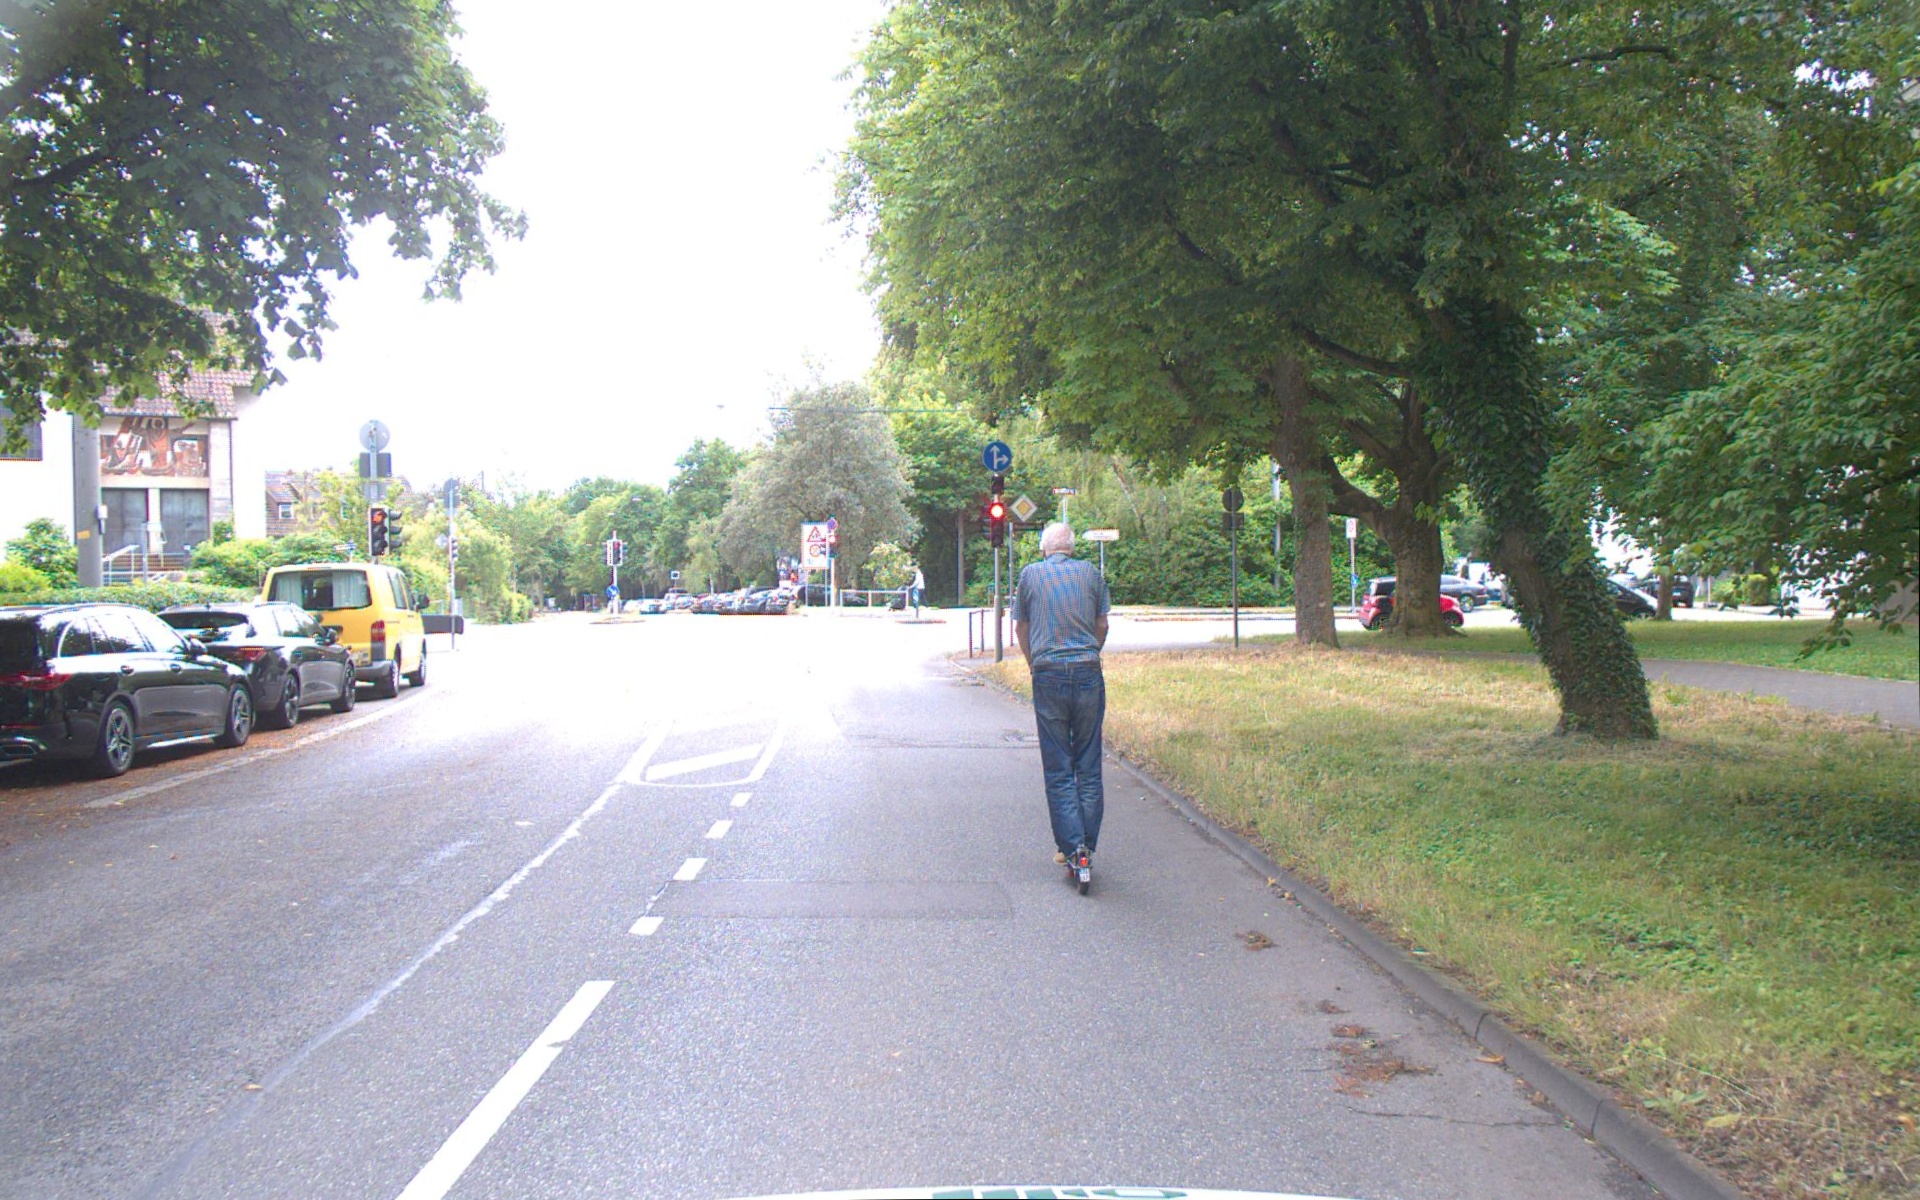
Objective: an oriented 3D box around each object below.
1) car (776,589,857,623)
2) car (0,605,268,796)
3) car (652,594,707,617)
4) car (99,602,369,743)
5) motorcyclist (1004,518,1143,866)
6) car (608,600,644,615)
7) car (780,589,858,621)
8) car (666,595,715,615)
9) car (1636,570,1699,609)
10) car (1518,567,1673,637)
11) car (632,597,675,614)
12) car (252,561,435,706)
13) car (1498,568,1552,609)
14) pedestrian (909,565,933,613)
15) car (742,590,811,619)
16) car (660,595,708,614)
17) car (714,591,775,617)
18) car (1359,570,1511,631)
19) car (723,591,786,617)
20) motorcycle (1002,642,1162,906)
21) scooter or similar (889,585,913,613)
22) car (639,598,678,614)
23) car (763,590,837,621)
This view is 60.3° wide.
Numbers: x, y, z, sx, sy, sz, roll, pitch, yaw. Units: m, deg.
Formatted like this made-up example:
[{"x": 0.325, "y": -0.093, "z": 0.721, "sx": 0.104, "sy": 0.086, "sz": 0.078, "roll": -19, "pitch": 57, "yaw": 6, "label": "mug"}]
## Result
[{"x": -7.151, "y": 0.273, "z": 82.197, "sx": 3.912, "sy": 1.536, "sz": 1.797, "roll": -2, "pitch": 0, "yaw": -8, "label": "car"}, {"x": -7.966, "y": 0.798, "z": 14.854, "sx": 1.855, "sy": 1.435, "sz": 4.549, "roll": -2, "pitch": 0, "yaw": -5, "label": "car"}, {"x": -20.864, "y": 0.384, "z": 122.941, "sx": 3.912, "sy": 1.536, "sz": 1.797, "roll": -2, "pitch": 0, "yaw": -8, "label": "car"}, {"x": -8.620, "y": 0.780, "z": 20.036, "sx": 1.760, "sy": 1.440, "sz": 4.184, "roll": -2, "pitch": 0, "yaw": -6, "label": "car"}, {"x": 0.595, "y": 0.472, "z": 8.867, "sx": 0.659, "sy": 1.792, "sz": 0.638, "roll": 0, "pitch": 0, "yaw": -4, "label": "motorcyclist"}, {"x": -39.138, "y": 0.867, "z": 193.780, "sx": 3.912, "sy": 1.536, "sz": 1.797, "roll": -2, "pitch": 0, "yaw": -8, "label": "car"}, {"x": -7.350, "y": 0.249, "z": 85.769, "sx": 3.912, "sy": 1.536, "sz": 1.797, "roll": -2, "pitch": 0, "yaw": -8, "label": "car"}, {"x": -22.715, "y": 0.405, "z": 139.512, "sx": 3.912, "sy": 1.536, "sz": 1.797, "roll": -2, "pitch": 0, "yaw": -8, "label": "car"}, {"x": 30.019, "y": -0.459, "z": 70.261, "sx": 2.039, "sy": 1.536, "sz": 4.002, "roll": -1, "pitch": 0, "yaw": 17, "label": "car"}, {"x": 17.549, "y": 0.022, "z": 45.794, "sx": 3.904, "sy": 1.756, "sz": 1.801, "roll": 1, "pitch": 4, "yaw": 20, "label": "car"}, {"x": -29.736, "y": 0.501, "z": 160.582, "sx": 3.912, "sy": 1.536, "sz": 1.797, "roll": -2, "pitch": 0, "yaw": -8, "label": "car"}, {"x": -9.419, "y": 0.477, "z": 25.624, "sx": 1.824, "sy": 1.998, "sz": 4.493, "roll": -2, "pitch": 0, "yaw": -10, "label": "car"}, {"x": 22.924, "y": -0.475, "z": 67.057, "sx": 1.758, "sy": 1.536, "sz": 3.999, "roll": -1, "pitch": 0, "yaw": 23, "label": "car"}, {"x": -1.498, "y": -0.418, "z": 63.327, "sx": 0.716, "sy": 1.792, "sz": 0.662, "roll": -1, "pitch": 0, "yaw": 14, "label": "pedestrian"}, {"x": -10.664, "y": 0.278, "z": 95.878, "sx": 3.912, "sy": 1.536, "sz": 1.797, "roll": -2, "pitch": 0, "yaw": -8, "label": "car"}, {"x": -23.748, "y": 0.395, "z": 142.341, "sx": 3.912, "sy": 1.536, "sz": 1.797, "roll": -2, "pitch": 0, "yaw": -8, "label": "car"}, {"x": -14.103, "y": 0.249, "z": 108.203, "sx": 3.912, "sy": 1.536, "sz": 1.797, "roll": -2, "pitch": 0, "yaw": -8, "label": "car"}, {"x": 13.423, "y": -0.007, "z": 46.947, "sx": 3.902, "sy": 1.584, "sz": 1.802, "roll": 0, "pitch": 3, "yaw": 7, "label": "car"}, {"x": -13.215, "y": 0.239, "z": 106.386, "sx": 3.912, "sy": 1.536, "sz": 1.797, "roll": -2, "pitch": 0, "yaw": -8, "label": "car"}, {"x": 0.609, "y": 0.860, "z": 8.662, "sx": 0.659, "sy": 1.239, "sz": 1.273, "roll": 0, "pitch": 0, "yaw": -4, "label": "motorcycle"}, {"x": -2.279, "y": -0.048, "z": 63.677, "sx": 0.695, "sy": 1.067, "sz": 0.788, "roll": -1, "pitch": 0, "yaw": 14, "label": "scooter or similar"}, {"x": -31.354, "y": 0.596, "z": 172.155, "sx": 3.912, "sy": 1.536, "sz": 1.797, "roll": -2, "pitch": 0, "yaw": -8, "label": "car"}, {"x": -8.639, "y": 0.265, "z": 89.213, "sx": 3.912, "sy": 1.536, "sz": 1.797, "roll": -2, "pitch": 0, "yaw": -8, "label": "car"}]
